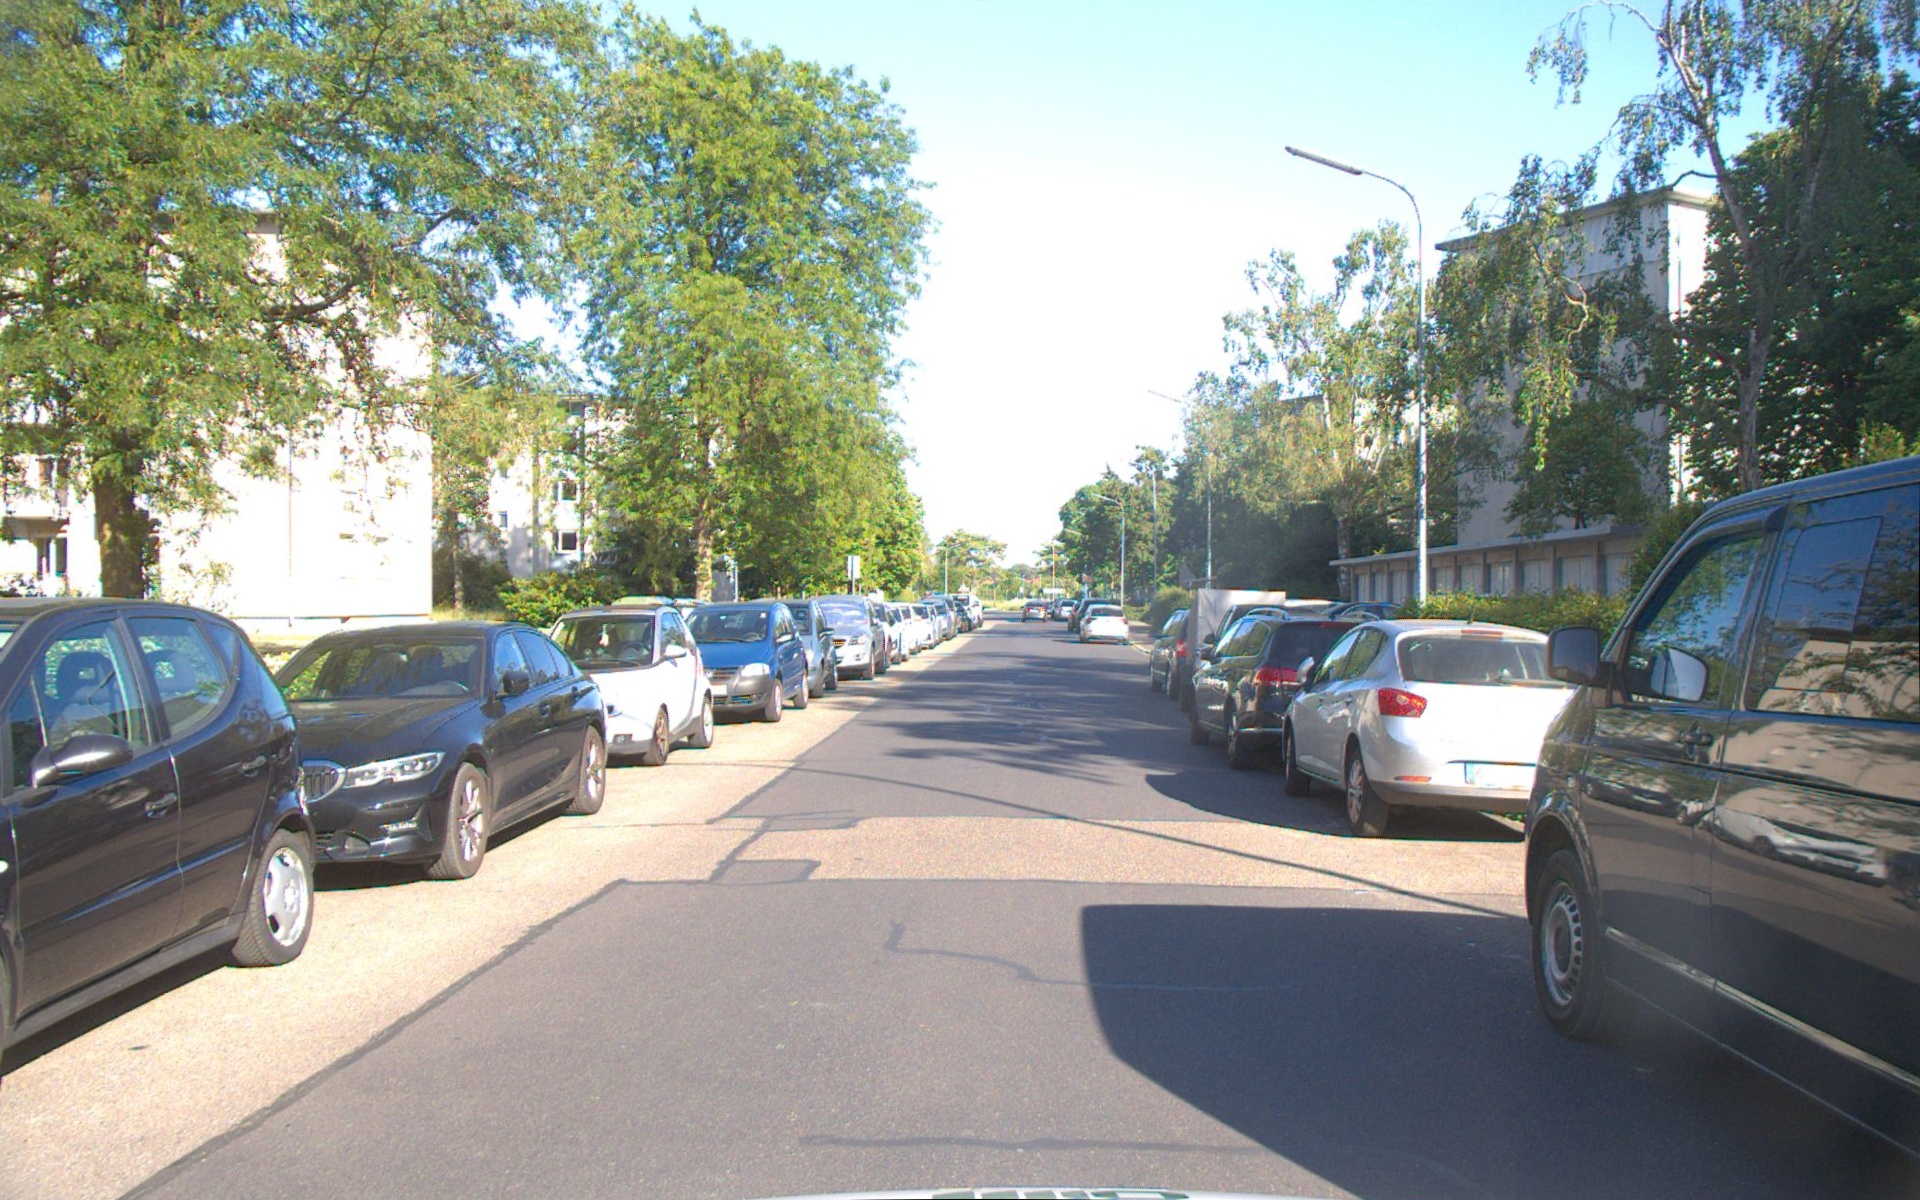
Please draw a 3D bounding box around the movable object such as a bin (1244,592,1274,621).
[{"bbox_3d":[14.290,0.302,79.069,1.228,1.376,1.279,0,0,1],"label":"movable object such as a bin"}]

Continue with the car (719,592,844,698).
[{"bbox_3d":[-2.920,0.700,27.698,1.602,1.634,3.535,-1,0,1],"label":"car"}]

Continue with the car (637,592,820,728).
[{"bbox_3d":[-3.076,0.749,22.785,1.717,1.634,3.970,-2,0,3],"label":"car"}]

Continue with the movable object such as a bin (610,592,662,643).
[{"bbox_3d":[-9.783,0.521,50.012,1.153,1.445,1.463,2,0,4],"label":"movable object such as a bin"}]

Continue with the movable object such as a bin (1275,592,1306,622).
[{"bbox_3d":[15.789,0.330,79.058,1.228,1.376,1.279,0,0,1],"label":"movable object such as a bin"}]

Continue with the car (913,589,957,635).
[{"bbox_3d":[-1.067,0.502,72.888,1.816,1.925,4.418,-1,0,1],"label":"car"}]

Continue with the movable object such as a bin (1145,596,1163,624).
[{"bbox_3d":[10.494,0.527,89.528,0.898,1.479,1.233,0,0,2],"label":"movable object such as a bin"}]

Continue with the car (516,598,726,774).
[{"bbox_3d":[-3.421,0.813,17.169,1.415,1.601,3.142,-2,0,1],"label":"car"}]

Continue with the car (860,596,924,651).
[{"bbox_3d":[-2.026,0.689,50.262,1.651,1.562,3.891,-1,0,1],"label":"car"}]

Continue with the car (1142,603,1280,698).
[{"bbox_3d":[4.148,0.798,27.847,1.696,1.428,3.895,1,0,0],"label":"car"}]

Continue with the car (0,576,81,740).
[{"bbox_3d":[-10.525,0.578,16.316,1.538,1.669,4.000,1,0,0],"label":"car"}]

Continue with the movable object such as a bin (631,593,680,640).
[{"bbox_3d":[-9.776,0.514,53.130,1.153,1.445,1.463,2,0,4],"label":"movable object such as a bin"}]

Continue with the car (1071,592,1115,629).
[{"bbox_3d":[6.303,0.473,78.742,1.868,1.668,4.629,1,0,2],"label":"car"}]

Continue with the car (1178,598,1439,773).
[{"bbox_3d":[3.393,0.758,16.946,1.696,1.516,4.501,-1,0,0],"label":"car"}]

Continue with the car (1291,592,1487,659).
[{"bbox_3d":[10.613,0.619,41.132,4.419,1.540,1.829,-1,0,3],"label":"car"}]

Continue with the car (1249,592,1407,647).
[{"bbox_3d":[10.927,0.575,49.341,4.323,1.540,1.829,-1,0,2],"label":"car"}]

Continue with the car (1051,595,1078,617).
[{"bbox_3d":[7.845,0.434,124.756,1.759,1.589,3.951,1,0,0],"label":"car"}]

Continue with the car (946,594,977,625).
[{"bbox_3d":[0.073,0.541,96.337,1.711,1.699,4.377,-1,0,-1],"label":"car"}]

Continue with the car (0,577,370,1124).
[{"bbox_3d":[-3.680,0.764,5.906,1.718,1.601,3.720,-2,0,1],"label":"car"}]

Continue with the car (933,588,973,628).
[{"bbox_3d":[-0.334,0.419,88.003,1.875,1.997,5.089,-1,0,2],"label":"car"}]

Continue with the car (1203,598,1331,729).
[{"bbox_3d":[3.900,0.769,21.309,1.385,1.550,2.559,1,0,6],"label":"car"}]

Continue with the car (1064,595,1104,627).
[{"bbox_3d":[6.310,0.555,84.596,1.868,1.557,4.329,1,0,2],"label":"car"}]

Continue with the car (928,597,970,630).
[{"bbox_3d":[-0.539,0.632,81.898,1.709,1.560,4.141,-1,0,4],"label":"car"}]

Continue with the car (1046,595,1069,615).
[{"bbox_3d":[8.507,0.448,144.809,1.759,1.672,3.951,1,0,0],"label":"car"}]

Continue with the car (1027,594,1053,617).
[{"bbox_3d":[5.692,0.395,117.861,1.645,1.540,4.104,2,0,0],"label":"car"}]

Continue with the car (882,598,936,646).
[{"bbox_3d":[-1.707,0.725,55.922,1.652,1.532,3.818,-1,0,0],"label":"car"}]

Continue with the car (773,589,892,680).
[{"bbox_3d":[-2.494,0.649,33.361,1.863,1.668,4.350,-1,0,2],"label":"car"}]

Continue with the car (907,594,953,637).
[{"bbox_3d":[-1.192,0.605,67.052,1.674,1.628,3.986,-2,0,1],"label":"car"}]

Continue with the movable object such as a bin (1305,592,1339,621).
[{"bbox_3d":[17.328,0.312,79.133,1.230,1.376,1.277,0,0,-6],"label":"movable object such as a bin"}]

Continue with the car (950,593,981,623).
[{"bbox_3d":[0.347,0.484,101.892,1.710,1.762,4.006,-1,0,2],"label":"car"}]

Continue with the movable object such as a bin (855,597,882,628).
[{"bbox_3d":[-4.324,0.586,78.382,1.078,1.445,1.361,2,0,2],"label":"movable object such as a bin"}]

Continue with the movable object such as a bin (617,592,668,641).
[{"bbox_3d":[-9.899,0.507,51.613,1.153,1.445,1.463,2,0,4],"label":"movable object such as a bin"}]

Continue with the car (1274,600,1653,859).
[{"bbox_3d":[3.421,0.780,12.011,1.589,1.516,4.037,1,0,1],"label":"car"}]

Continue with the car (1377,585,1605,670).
[{"bbox_3d":[10.380,0.517,32.517,3.862,1.540,1.828,-1,0,-1],"label":"car"}]

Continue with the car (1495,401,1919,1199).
[{"bbox_3d":[3.032,0.562,4.325,1.814,1.968,4.705,1,0,1],"label":"car"}]

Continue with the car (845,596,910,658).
[{"bbox_3d":[-2.223,0.688,43.795,1.630,1.540,3.535,-1,0,-4],"label":"car"}]

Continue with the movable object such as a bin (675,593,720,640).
[{"bbox_3d":[-8.491,0.534,53.632,1.110,1.445,1.361,2,0,3],"label":"movable object such as a bin"}]

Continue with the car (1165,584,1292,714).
[{"bbox_3d":[3.855,0.675,24.020,1.458,1.748,2.584,1,0,2],"label":"car"}]

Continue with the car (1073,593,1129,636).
[{"bbox_3d":[5.316,0.537,62.672,1.717,1.540,4.104,2,0,0],"label":"car"}]

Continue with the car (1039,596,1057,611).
[{"bbox_3d":[9.537,0.347,180.170,1.759,1.576,3.951,1,0,0],"label":"car"}]

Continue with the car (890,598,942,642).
[{"bbox_3d":[-1.604,0.708,61.474,1.651,1.490,4.526,-2,0,2],"label":"car"}]

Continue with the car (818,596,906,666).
[{"bbox_3d":[-2.266,0.684,39.117,1.628,1.540,3.947,-1,0,3],"label":"car"}]

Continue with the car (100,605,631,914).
[{"bbox_3d":[-3.530,0.833,10.835,1.718,1.506,4.538,-2,0,1],"label":"car"}]

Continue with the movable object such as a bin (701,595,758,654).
[{"bbox_3d":[-5.841,0.608,42.036,1.112,1.407,1.442,2,0,3],"label":"movable object such as a bin"}]

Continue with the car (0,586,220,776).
[{"bbox_3d":[-8.646,0.654,15.540,1.538,1.552,4.000,1,0,0],"label":"car"}]
